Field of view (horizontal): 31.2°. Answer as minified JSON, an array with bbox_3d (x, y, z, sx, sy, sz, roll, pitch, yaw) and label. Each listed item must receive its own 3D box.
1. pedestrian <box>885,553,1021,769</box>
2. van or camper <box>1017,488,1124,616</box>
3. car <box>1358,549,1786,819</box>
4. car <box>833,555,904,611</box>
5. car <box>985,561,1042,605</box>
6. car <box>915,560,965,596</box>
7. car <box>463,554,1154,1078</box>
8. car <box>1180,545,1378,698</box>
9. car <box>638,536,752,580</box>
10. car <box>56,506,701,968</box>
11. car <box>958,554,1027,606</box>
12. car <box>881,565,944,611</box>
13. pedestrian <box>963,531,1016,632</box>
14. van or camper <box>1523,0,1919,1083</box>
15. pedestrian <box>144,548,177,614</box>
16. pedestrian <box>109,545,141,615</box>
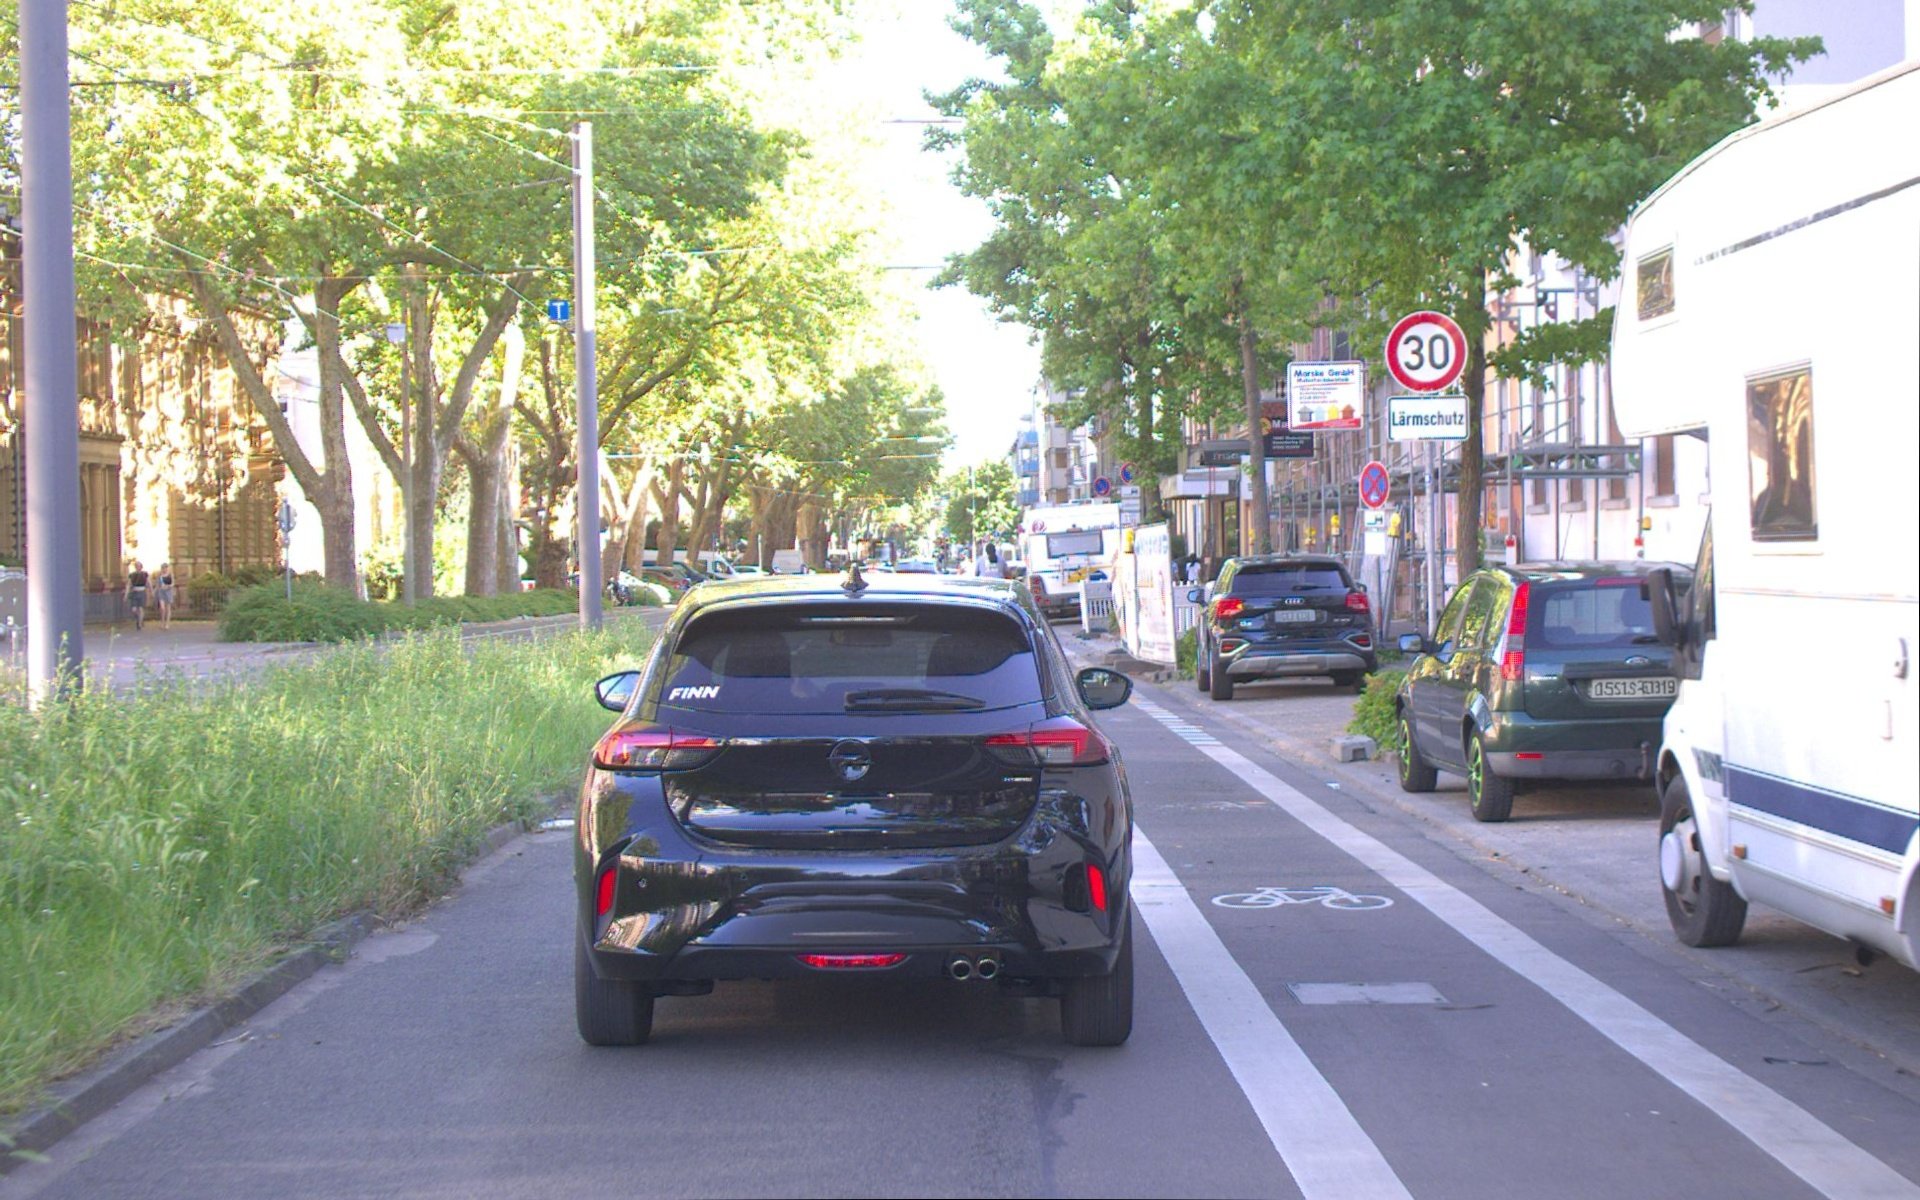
[{"bbox_3d":[-0.053,0.439,25.487,0.970,1.557,0.971,-1,0,0],"label":"pedestrian"},{"bbox_3d":[2.669,-1.168,83.877,2.486,2.983,5.434,1,1,1],"label":"van or camper"},{"bbox_3d":[3.545,0.427,20.609,1.685,1.416,4.049,-2,1,-2],"label":"car"},{"bbox_3d":[-2.584,-0.501,98.008,1.790,1.505,3.874,-2,1,1],"label":"car"},{"bbox_3d":[1.865,-0.587,117.865,1.905,1.420,4.215,-1,1,1],"label":"car"},{"bbox_3d":[-0.785,-0.909,139.982,1.905,1.420,4.215,-1,1,1],"label":"car"},{"bbox_3d":[-0.372,0.576,11.674,1.905,1.420,4.215,-1,1,1],"label":"car"},{"bbox_3d":[3.427,0.198,37.567,1.790,1.505,3.874,-2,1,1],"label":"car"},{"bbox_3d":[-13.848,-2.190,179.899,5.687,2.190,2.289,-1,0,1],"label":"car"},{"bbox_3d":[-2.267,0.466,14.653,1.993,1.622,4.470,1,1,0],"label":"car"},{"bbox_3d":[0.953,-0.587,98.412,1.905,1.420,4.215,-1,1,1],"label":"car"},{"bbox_3d":[-1.544,-0.413,112.941,1.905,1.420,4.215,-1,1,1],"label":"car"},{"bbox_3d":[0.593,-0.374,69.533,1.036,2.017,1.212,-1,1,-1],"label":"pedestrian"},{"bbox_3d":[3.664,-0.344,10.543,2.375,3.114,7.551,-4,1,-1],"label":"van or camper"},{"bbox_3d":[-19.990,-0.482,85.923,0.658,1.616,0.615,1,1,0],"label":"pedestrian"},{"bbox_3d":[-20.800,-0.492,85.653,0.618,1.727,0.596,1,1,0],"label":"pedestrian"}]
